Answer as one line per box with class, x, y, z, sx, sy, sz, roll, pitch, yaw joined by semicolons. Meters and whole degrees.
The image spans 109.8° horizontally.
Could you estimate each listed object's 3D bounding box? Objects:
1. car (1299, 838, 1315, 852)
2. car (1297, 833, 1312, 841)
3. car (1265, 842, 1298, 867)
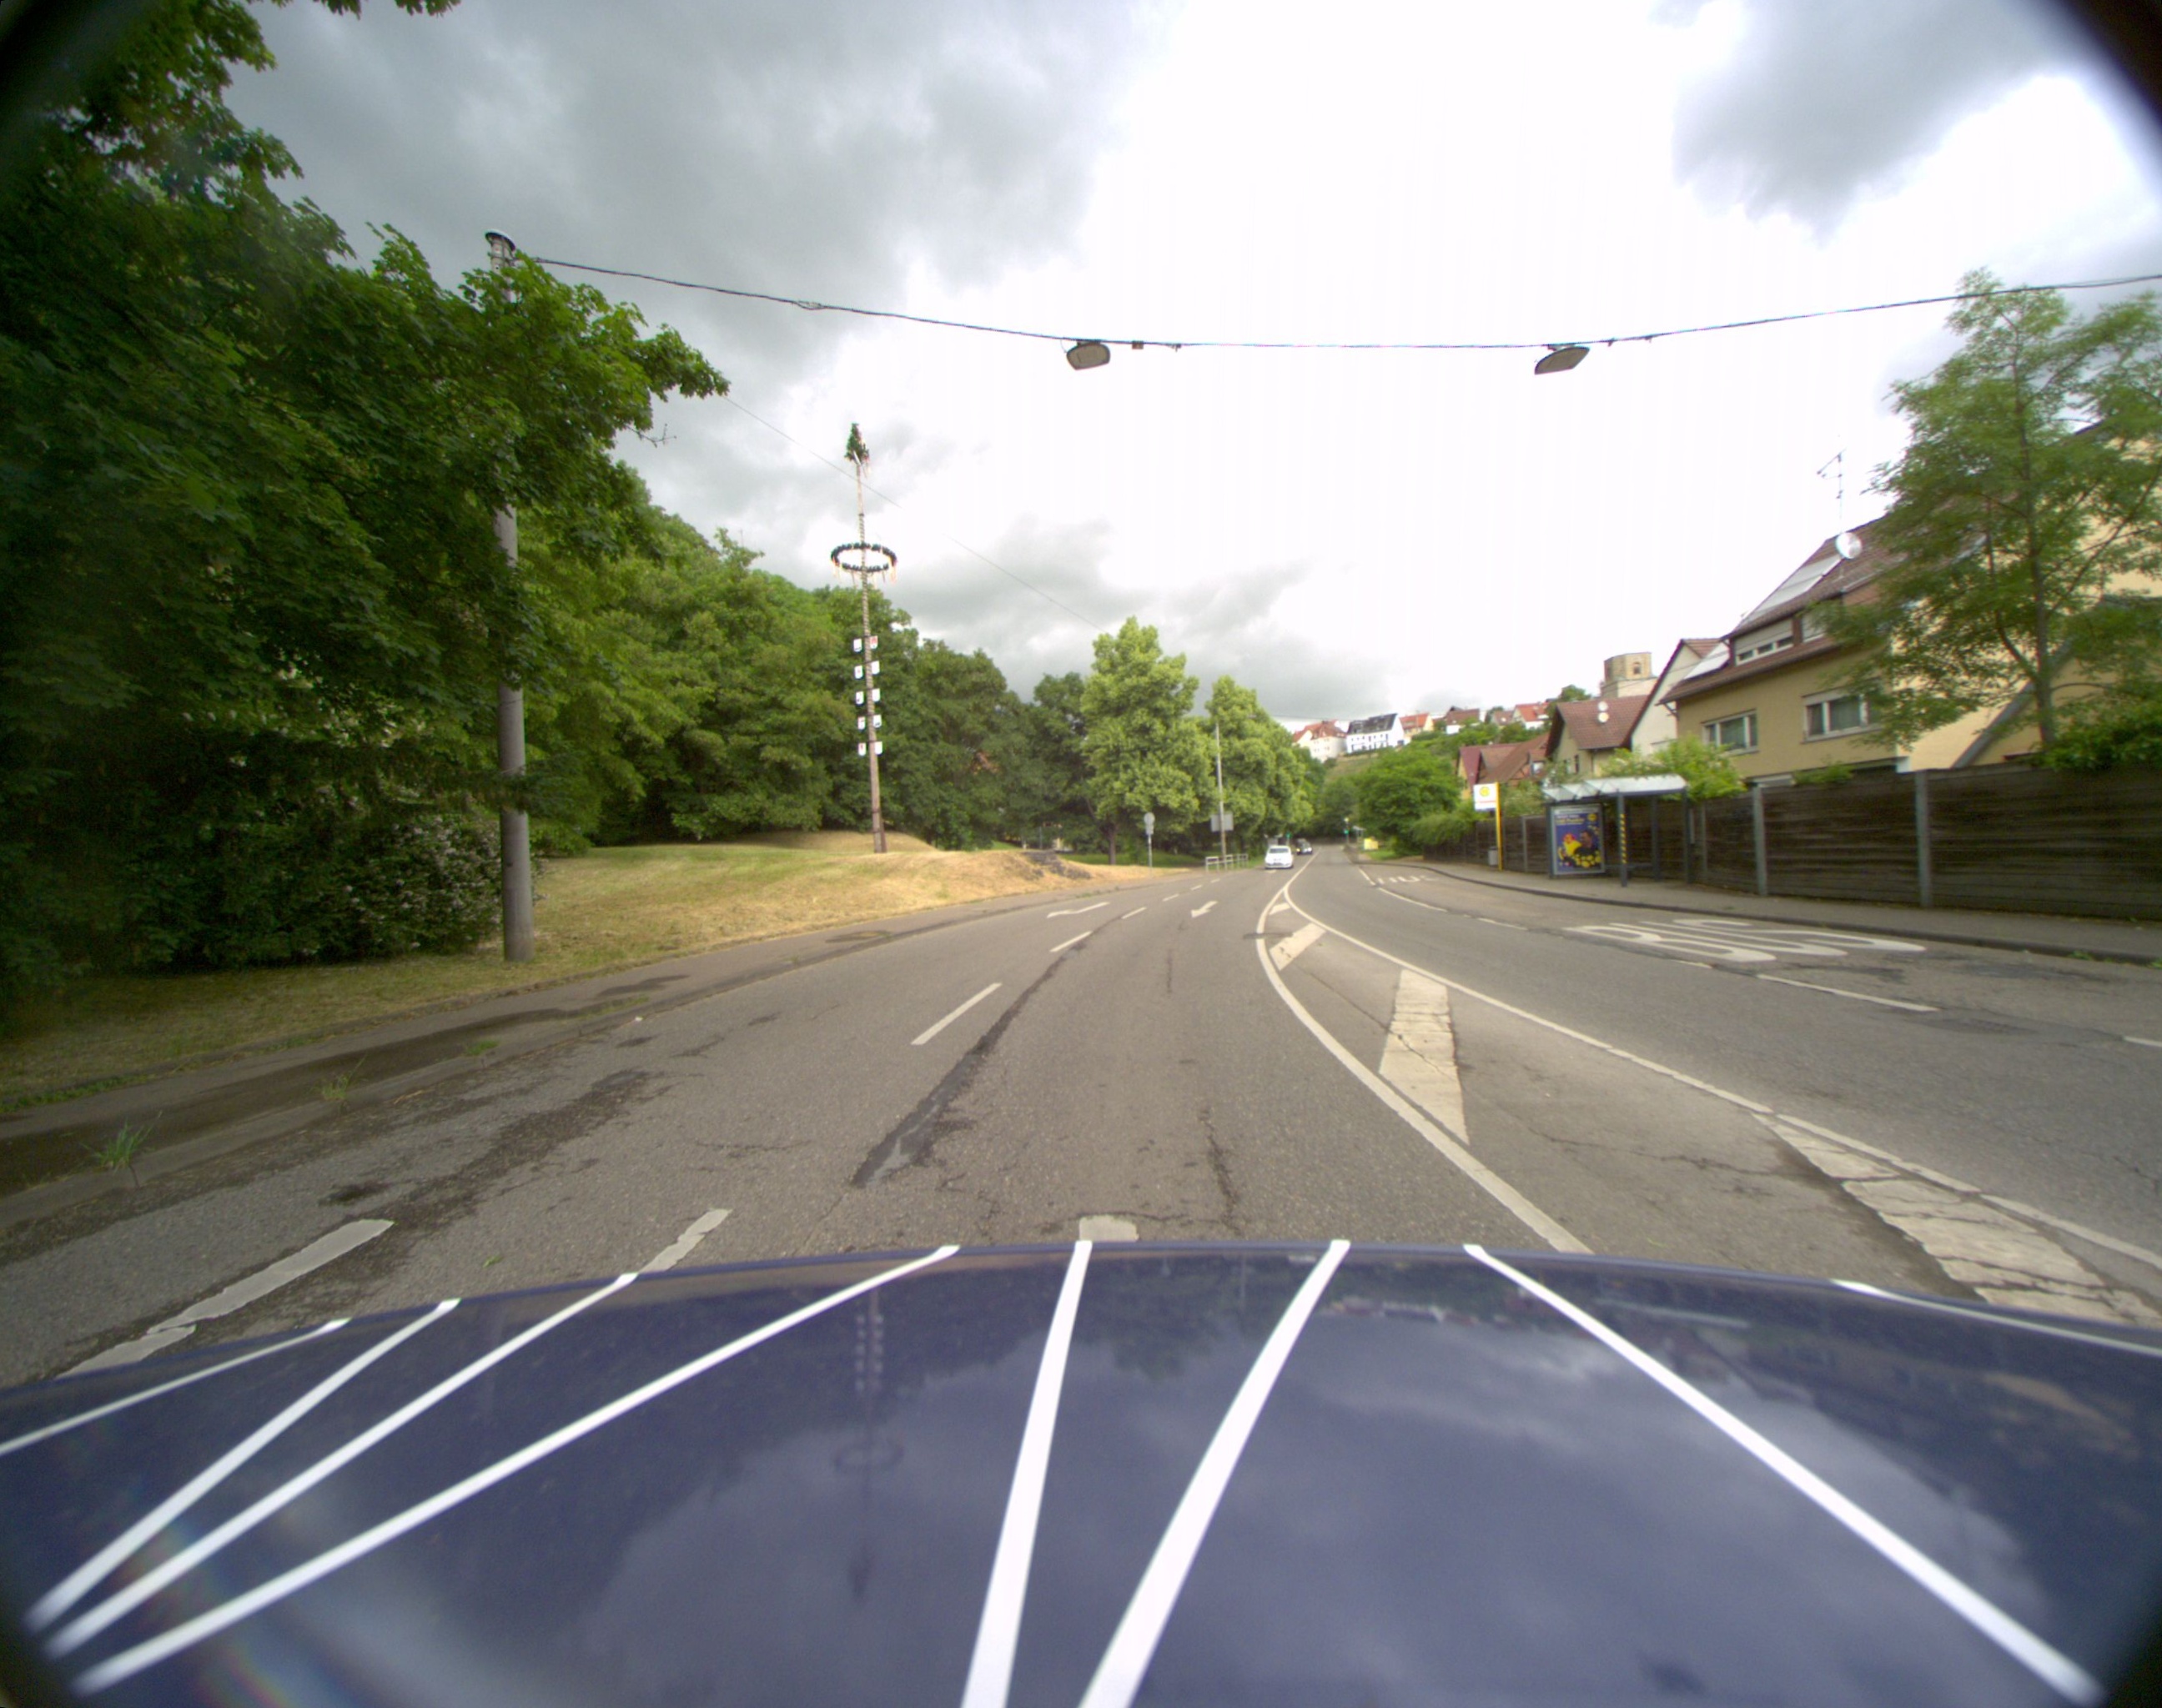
car;27.351;-1.144;91.989;1.761;1.575;3.687;-2;1;17
car;44.570;-3.374;151.739;1.764;1.575;3.682;-2;1;-2
car;13.098;0.012;49.483;1.761;1.516;3.688;-2;1;19
